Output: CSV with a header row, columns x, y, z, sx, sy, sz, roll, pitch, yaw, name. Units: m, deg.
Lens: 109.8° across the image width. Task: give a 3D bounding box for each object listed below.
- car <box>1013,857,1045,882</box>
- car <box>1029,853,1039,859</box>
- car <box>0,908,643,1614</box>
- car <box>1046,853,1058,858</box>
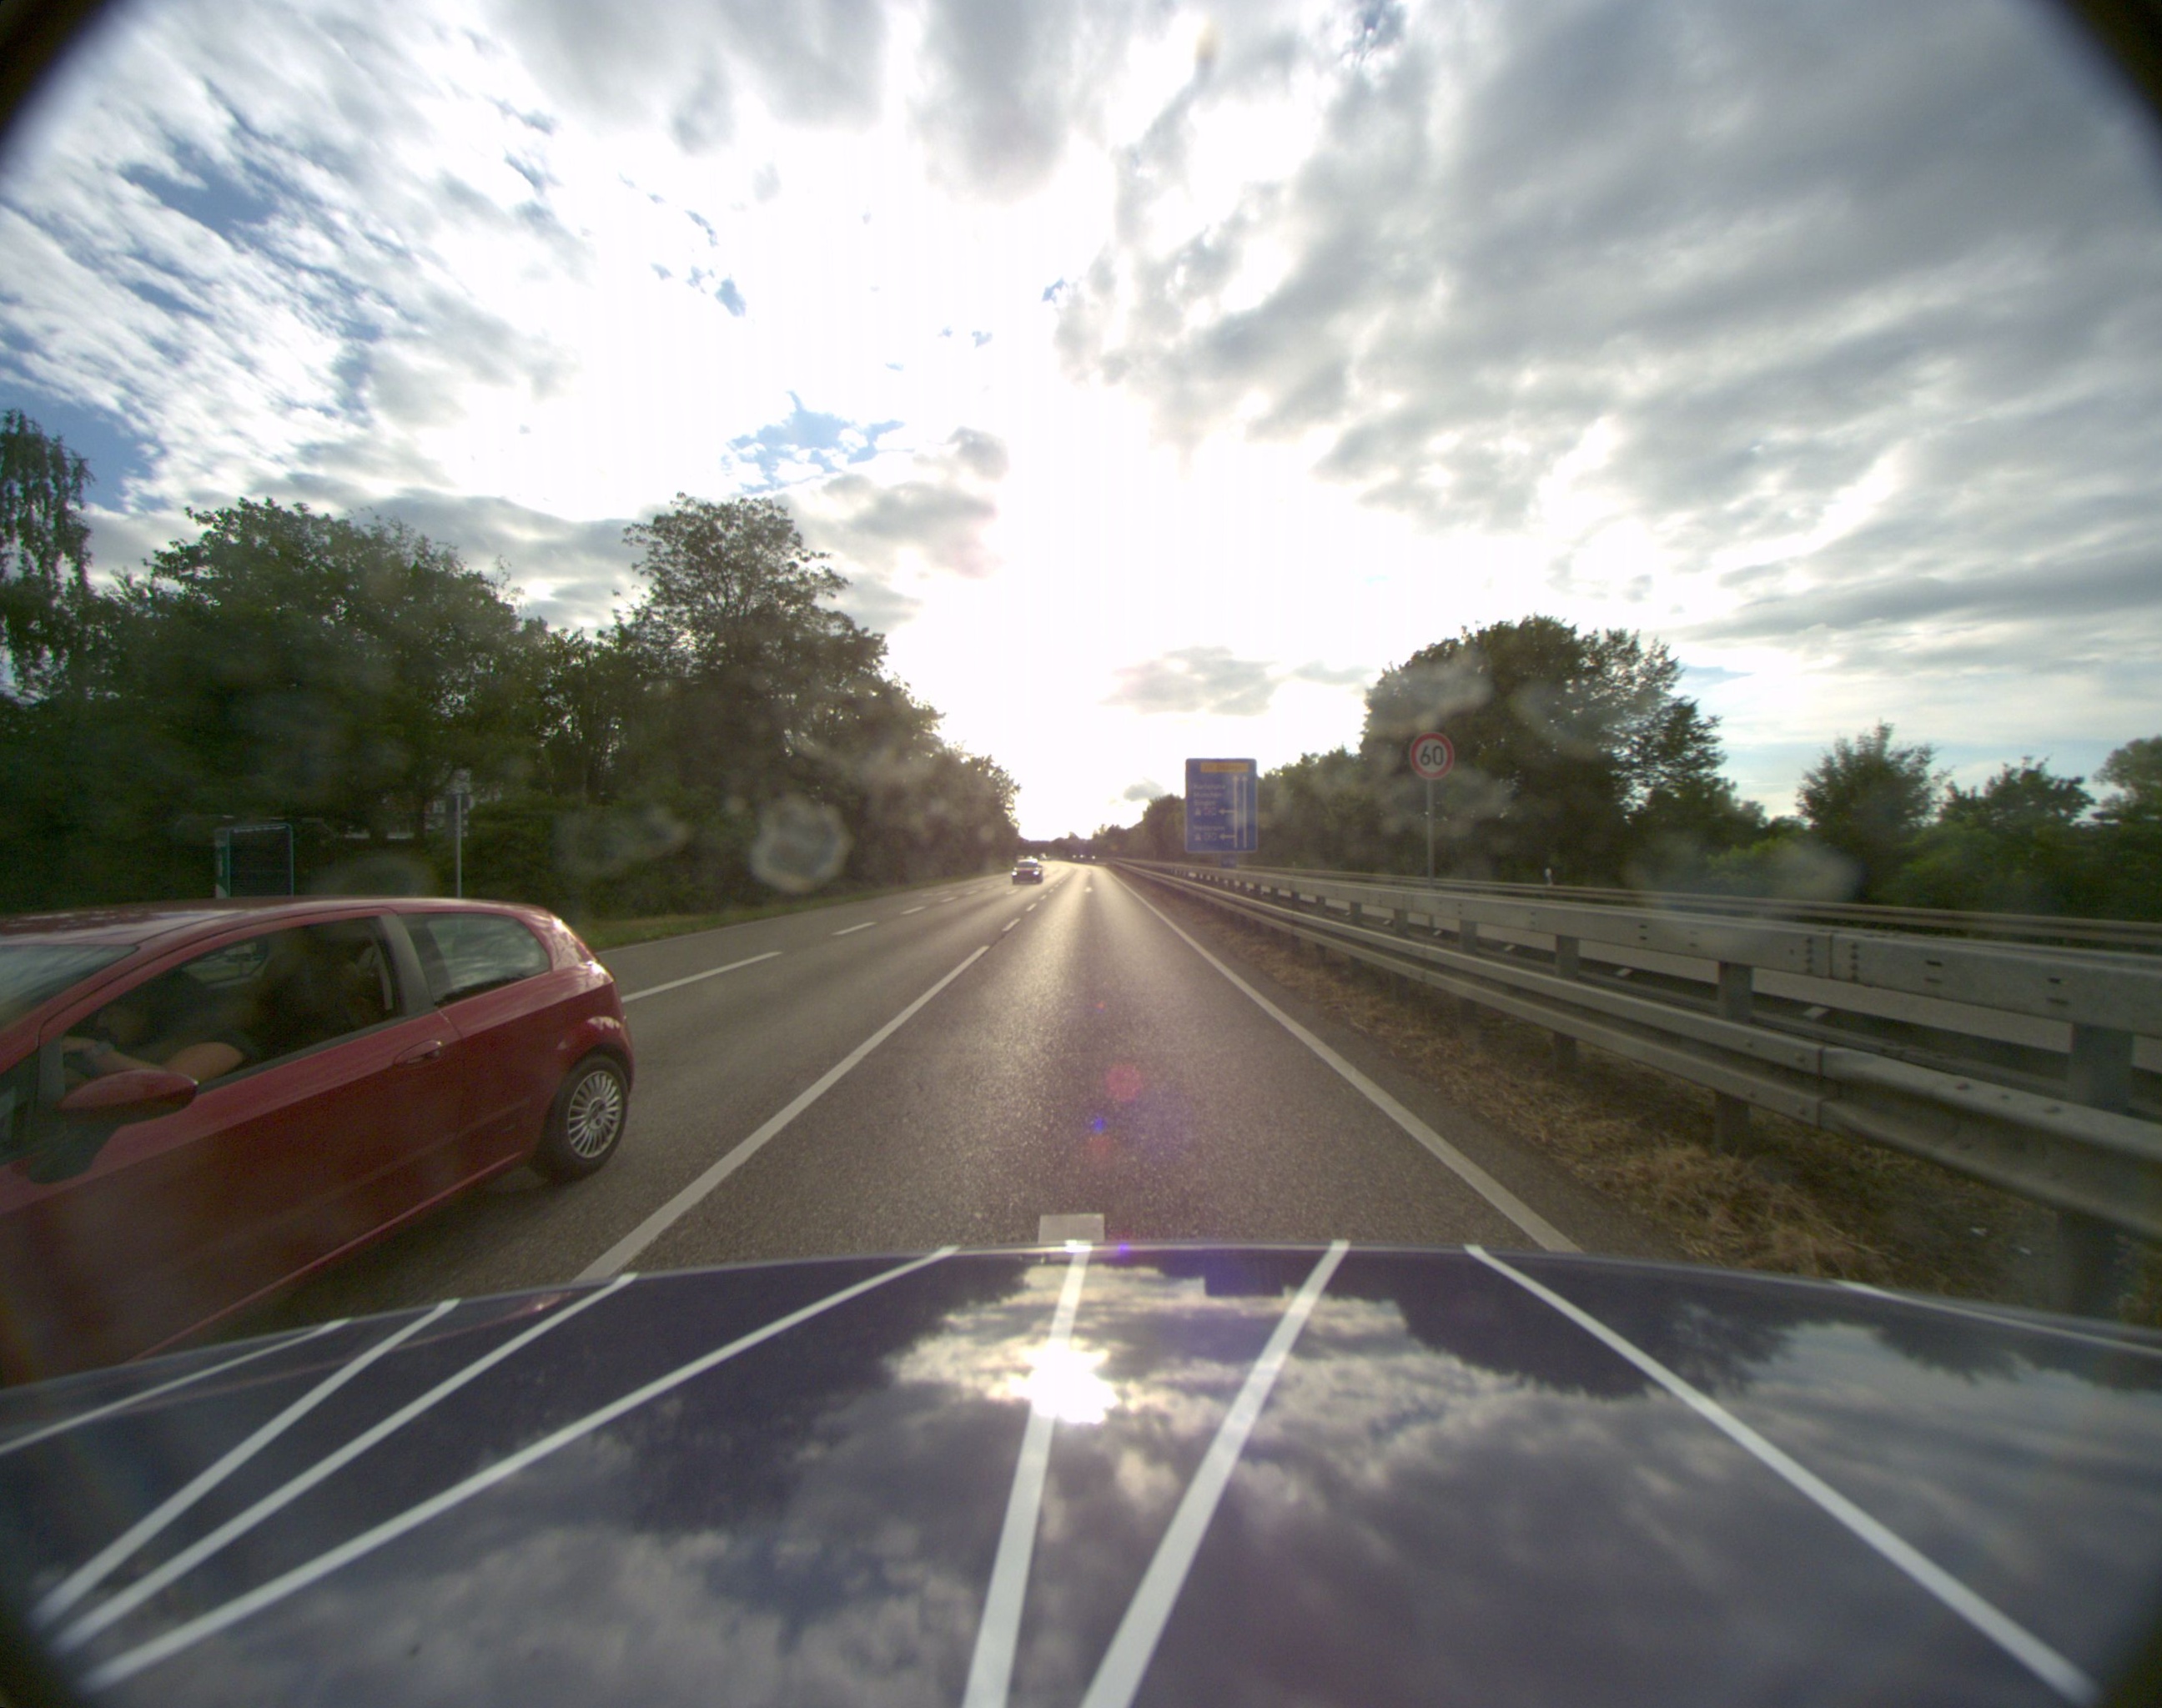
x,y,z,sx,sy,sz,roll,pitch,yaw,name
-3.210,0.959,47.758,1.700,1.407,3.999,-2,0,0,car
-11.097,0.477,179.241,1.998,1.486,4.000,0,0,1,car
-3.309,1.039,2.242,1.667,1.424,3.994,-2,0,0,car
-9.816,0.478,257.426,3.998,1.486,1.999,0,0,-4,car
